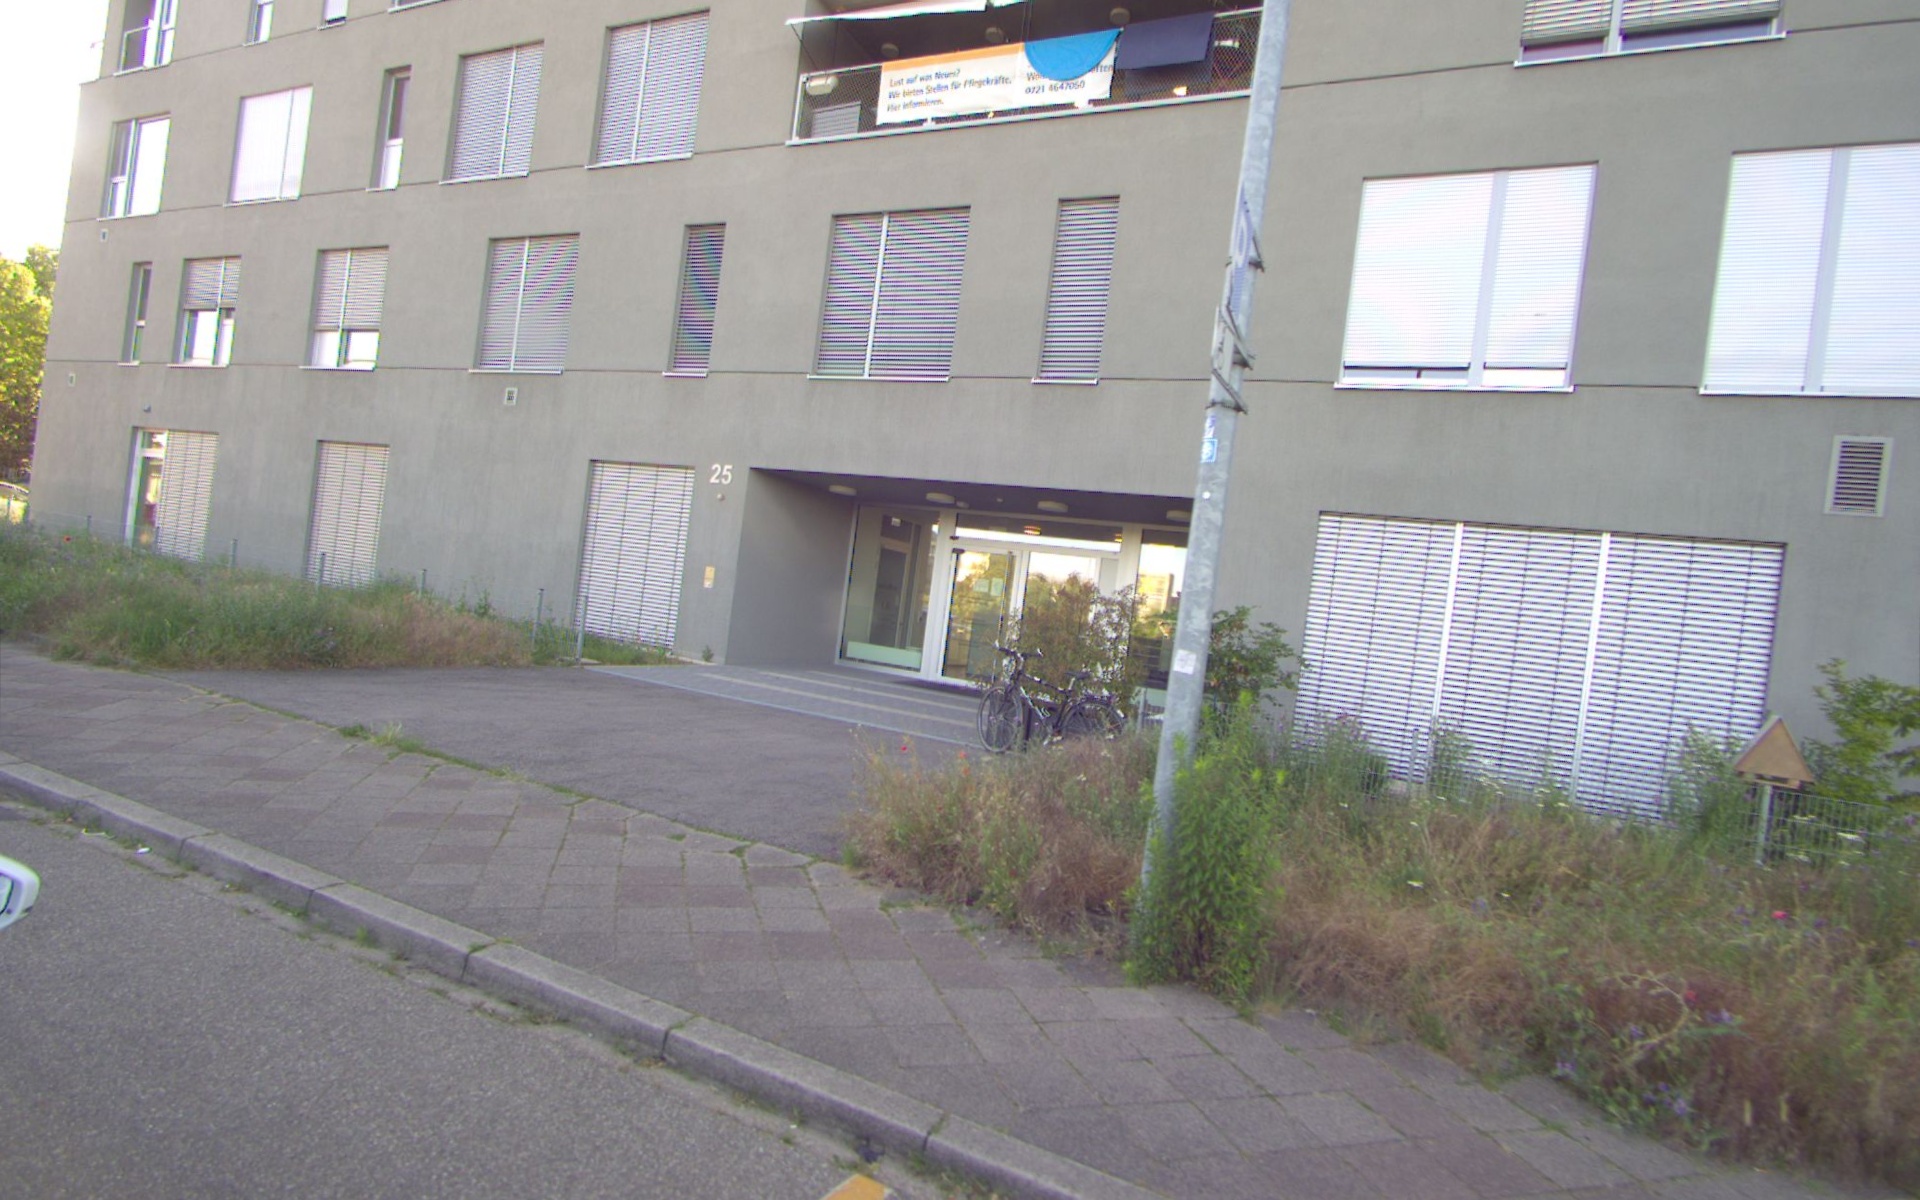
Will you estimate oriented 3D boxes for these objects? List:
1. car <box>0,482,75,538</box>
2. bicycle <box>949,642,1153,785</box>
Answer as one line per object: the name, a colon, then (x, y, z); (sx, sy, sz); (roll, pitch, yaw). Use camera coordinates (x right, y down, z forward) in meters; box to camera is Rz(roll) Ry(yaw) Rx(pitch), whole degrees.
car: (-30.000, -2.952, 31.239); (1.686, 1.476, 3.332); (7, -1, 31)
bicycle: (0.866, 1.075, 9.840); (1.811, 1.074, 0.553); (7, -1, 31)
